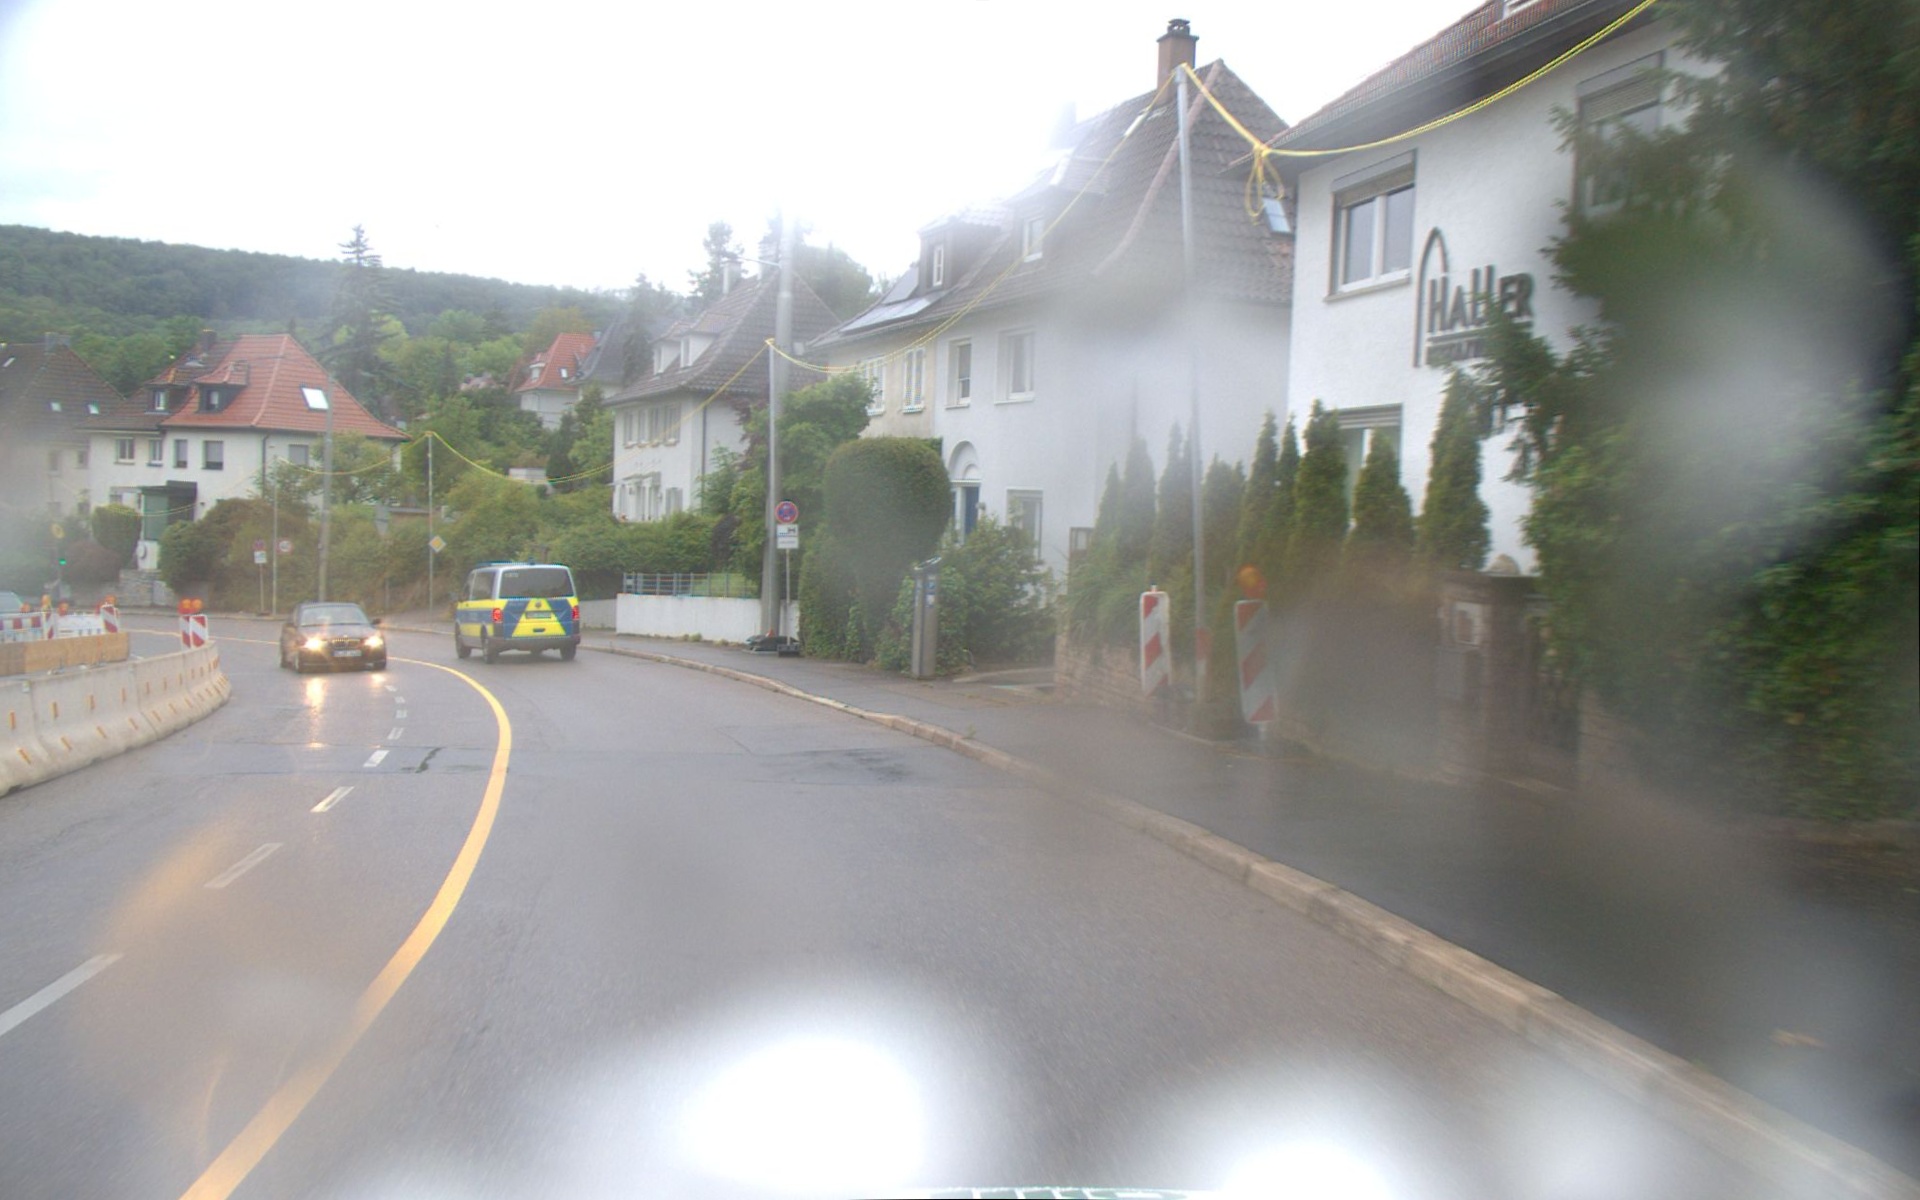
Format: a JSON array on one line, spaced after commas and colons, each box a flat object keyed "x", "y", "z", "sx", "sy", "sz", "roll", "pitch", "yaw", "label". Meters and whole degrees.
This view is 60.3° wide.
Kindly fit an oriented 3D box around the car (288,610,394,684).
[{"x": -12.813, "y": 0.950, "z": 34.102, "sx": 1.628, "sy": 1.334, "sz": 4.228, "roll": -3, "pitch": 0, "yaw": -26, "label": "car"}]

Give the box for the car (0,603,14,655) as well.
[{"x": -29.079, "y": 0.843, "z": 48.081, "sx": 1.839, "sy": 1.489, "sz": 3.705, "roll": -1, "pitch": 1, "yaw": -45, "label": "car"}]

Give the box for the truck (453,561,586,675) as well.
[{"x": -9.416, "y": 0.294, "z": 35.122, "sx": 1.968, "sy": 2.048, "sz": 4.699, "roll": -1, "pitch": 4, "yaw": -25, "label": "truck"}]
